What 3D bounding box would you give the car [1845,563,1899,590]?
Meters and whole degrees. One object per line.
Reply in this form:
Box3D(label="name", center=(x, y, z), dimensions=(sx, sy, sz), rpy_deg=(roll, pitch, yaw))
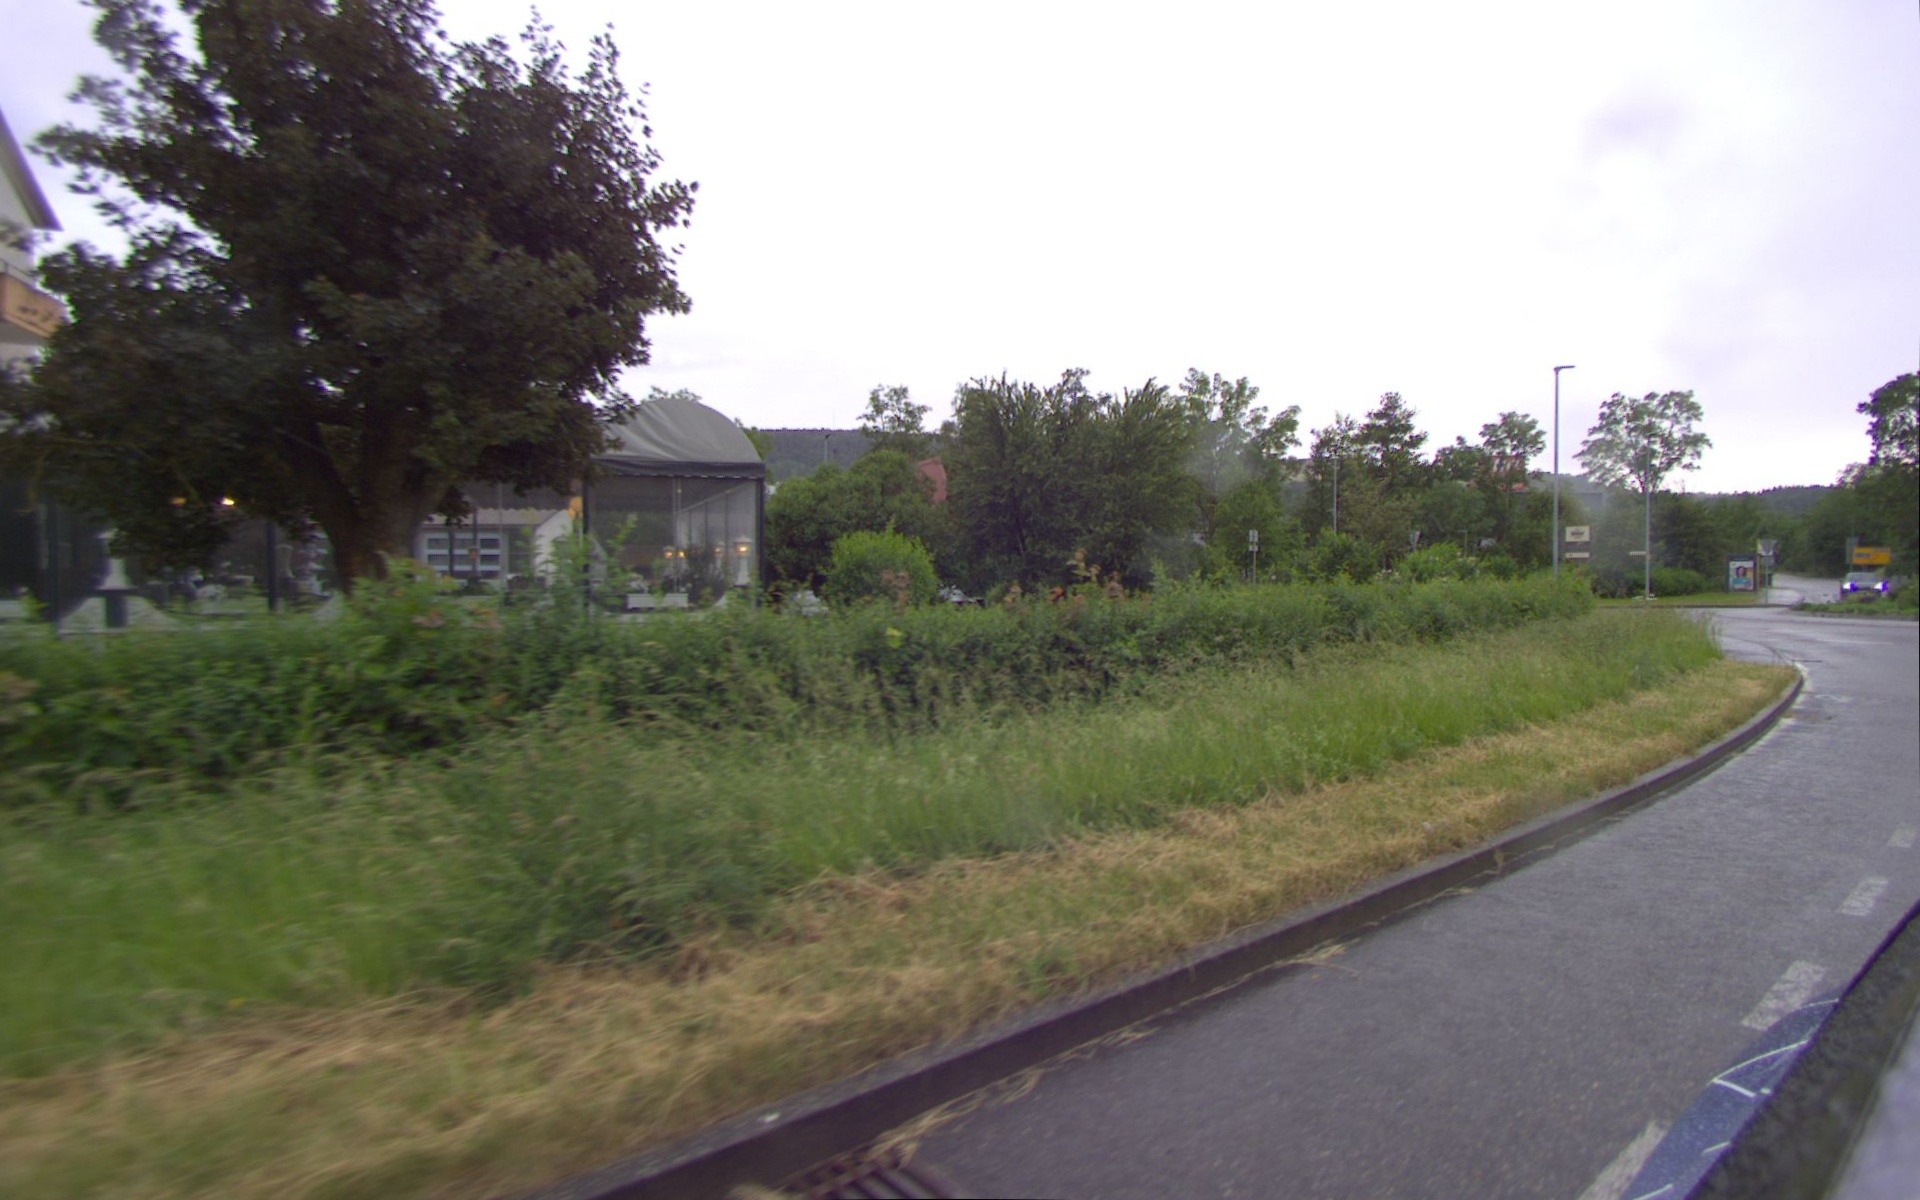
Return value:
Box3D(label="car", center=(52.940, -1.362, 58.815), dimensions=(1.846, 1.508, 4.068), rpy_deg=(1, 2, 36))
